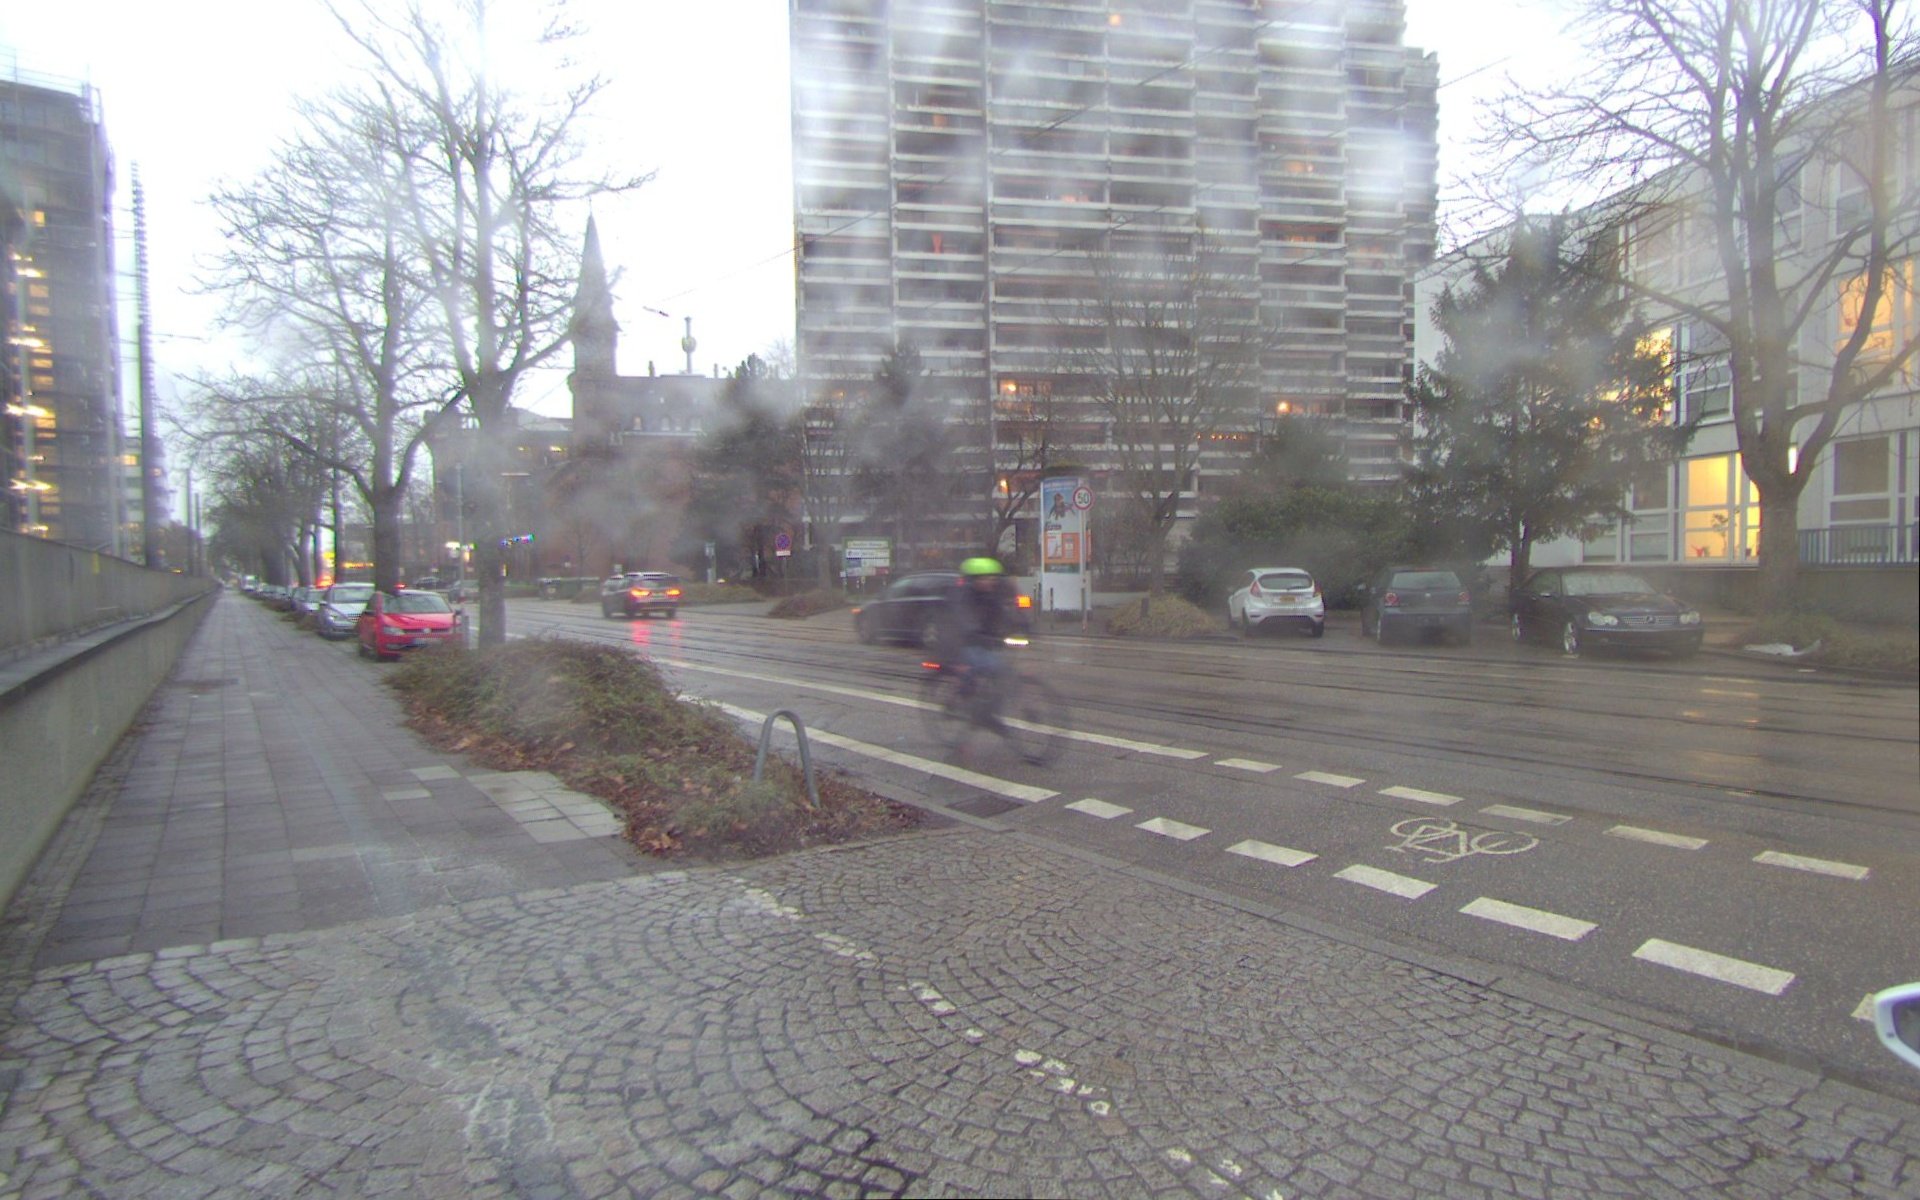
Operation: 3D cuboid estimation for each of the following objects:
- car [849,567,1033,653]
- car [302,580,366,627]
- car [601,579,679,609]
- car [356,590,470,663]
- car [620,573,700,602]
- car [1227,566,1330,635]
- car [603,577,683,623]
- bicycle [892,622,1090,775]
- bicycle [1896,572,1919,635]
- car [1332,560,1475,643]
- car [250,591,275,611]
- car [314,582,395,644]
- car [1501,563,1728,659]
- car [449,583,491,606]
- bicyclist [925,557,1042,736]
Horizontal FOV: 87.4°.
[{"bbox_3d":[-0.499,0.158,20.664,1.735,1.565,4.254,-1,1,-34],"label":"car"},{"bbox_3d":[-23.194,0.095,37.152,1.848,1.615,3.962,-1,1,-34],"label":"car"},{"bbox_3d":[-18.533,-0.378,58.178,3.954,1.662,1.983,-1,1,-31],"label":"car"},{"bbox_3d":[-11.761,0.502,21.492,1.736,1.406,3.700,-1,1,-35],"label":"car"},{"bbox_3d":[-16.522,-0.693,55.329,3.954,1.506,1.658,-1,1,-31],"label":"car"},{"bbox_3d":[7.182,-0.010,22.966,1.818,1.418,4.002,-1,1,12],"label":"car"},{"bbox_3d":[-11.946,-0.005,37.668,1.695,1.600,4.337,-1,1,-34],"label":"car"},{"bbox_3d":[0.207,0.780,8.757,0.702,1.111,2.010,-1,1,-33],"label":"bicycle"},{"bbox_3d":[18.567,0.044,18.684,2.168,1.136,0.640,-1,1,-14],"label":"bicycle"},{"bbox_3d":[8.775,0.007,20.228,1.818,1.482,4.002,-1,1,12],"label":"car"},{"bbox_3d":[-60.224,0.076,86.784,1.736,1.605,3.700,-1,1,-35],"label":"car"},{"bbox_3d":[-17.182,0.329,28.433,1.736,1.605,3.700,-1,1,-35],"label":"car"},{"bbox_3d":[10.659,0.140,16.727,1.818,1.397,4.002,-1,1,12],"label":"car"},{"bbox_3d":[-31.557,-0.364,64.610,1.750,1.430,3.959,-1,1,-36],"label":"car"},{"bbox_3d":[0.194,0.375,8.785,0.651,1.466,0.841,-2,1,-33],"label":"bicyclist"}]
